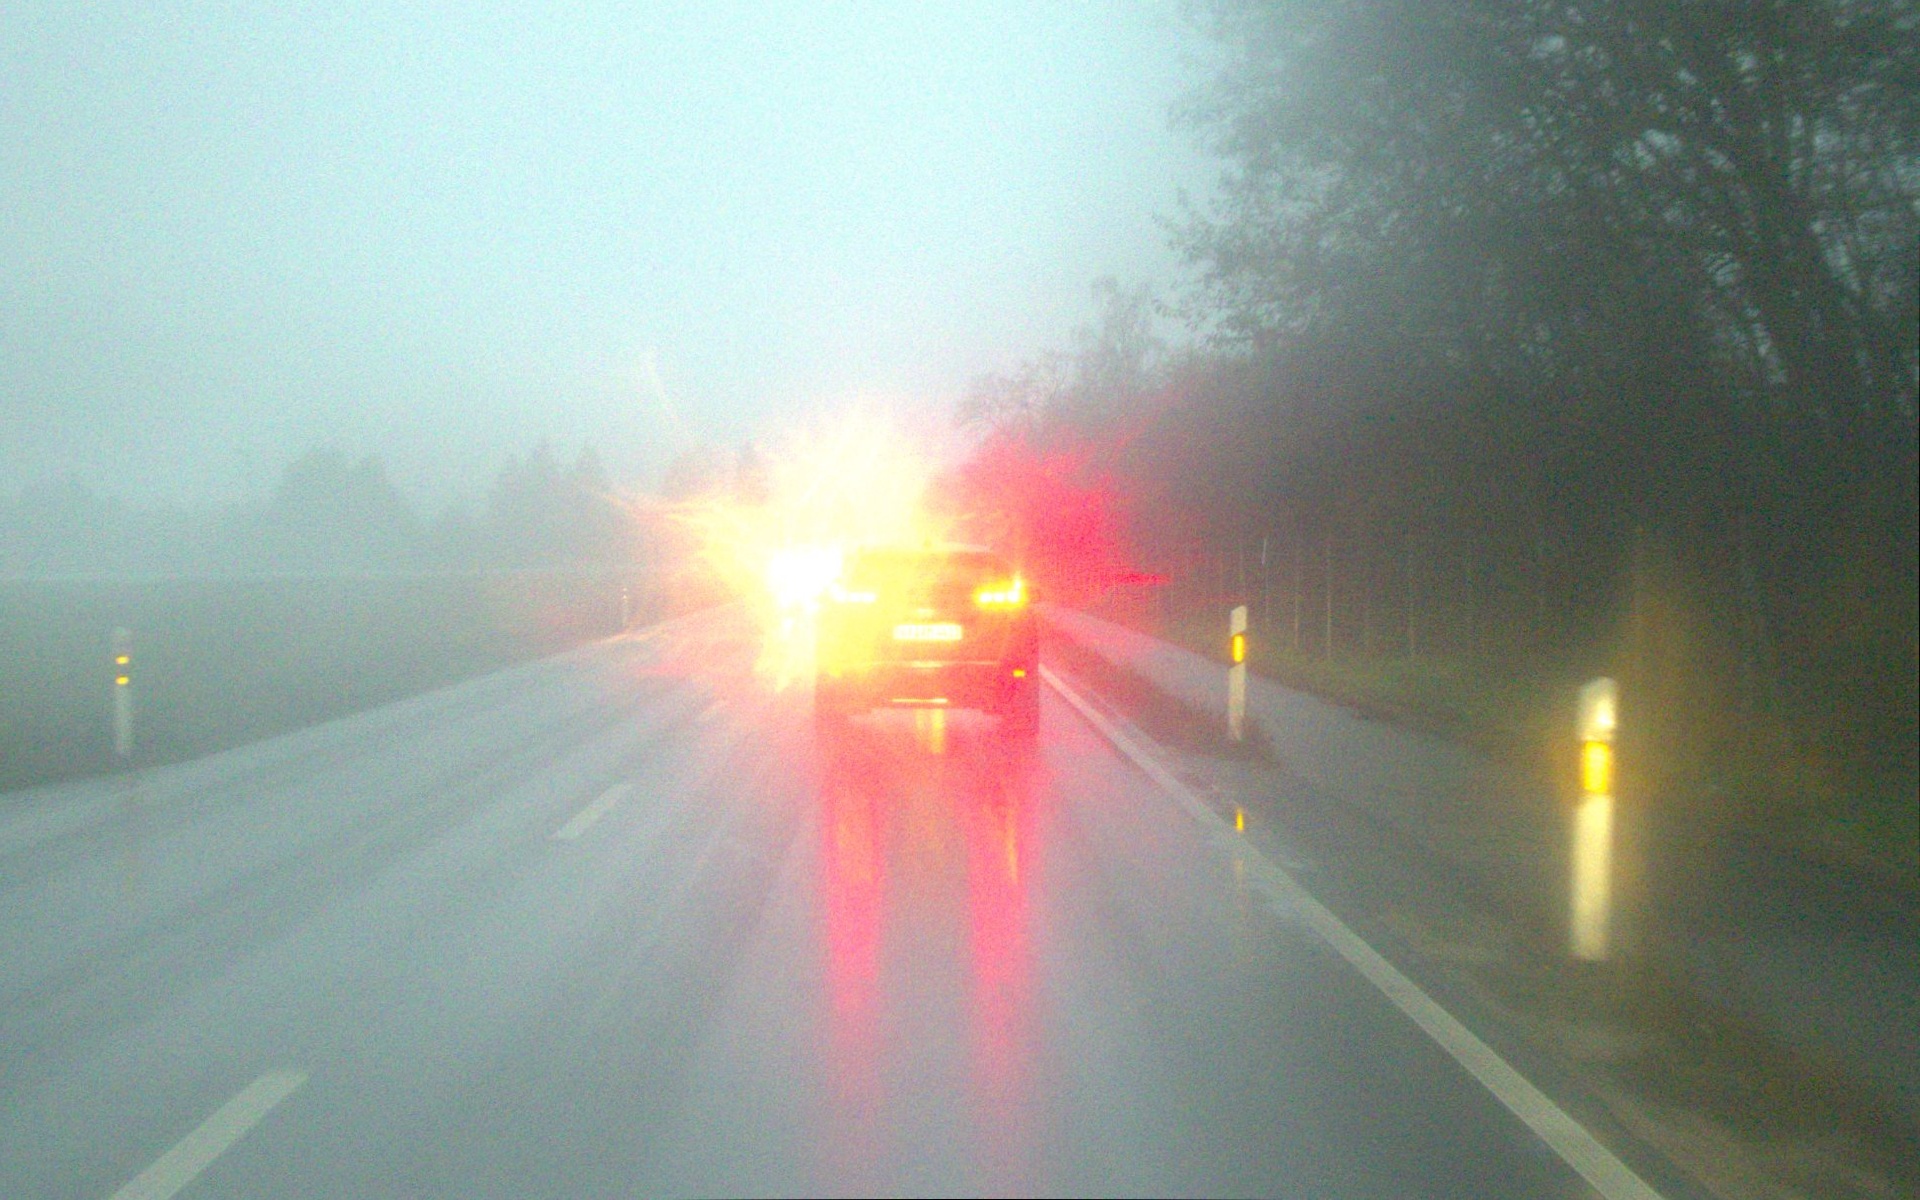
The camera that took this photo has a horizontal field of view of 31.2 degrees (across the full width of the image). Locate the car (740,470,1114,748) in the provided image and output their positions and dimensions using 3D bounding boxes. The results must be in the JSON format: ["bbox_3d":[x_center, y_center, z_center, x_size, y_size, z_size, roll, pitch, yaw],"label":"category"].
[{"bbox_3d":[-0.253,0.030,29.139,2.820,2.070,5.804,1,1,0],"label":"car"}]

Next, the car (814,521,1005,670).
[{"bbox_3d":[-0.694,-0.101,50.345,2.592,2.007,5.804,1,1,0],"label":"car"}]
